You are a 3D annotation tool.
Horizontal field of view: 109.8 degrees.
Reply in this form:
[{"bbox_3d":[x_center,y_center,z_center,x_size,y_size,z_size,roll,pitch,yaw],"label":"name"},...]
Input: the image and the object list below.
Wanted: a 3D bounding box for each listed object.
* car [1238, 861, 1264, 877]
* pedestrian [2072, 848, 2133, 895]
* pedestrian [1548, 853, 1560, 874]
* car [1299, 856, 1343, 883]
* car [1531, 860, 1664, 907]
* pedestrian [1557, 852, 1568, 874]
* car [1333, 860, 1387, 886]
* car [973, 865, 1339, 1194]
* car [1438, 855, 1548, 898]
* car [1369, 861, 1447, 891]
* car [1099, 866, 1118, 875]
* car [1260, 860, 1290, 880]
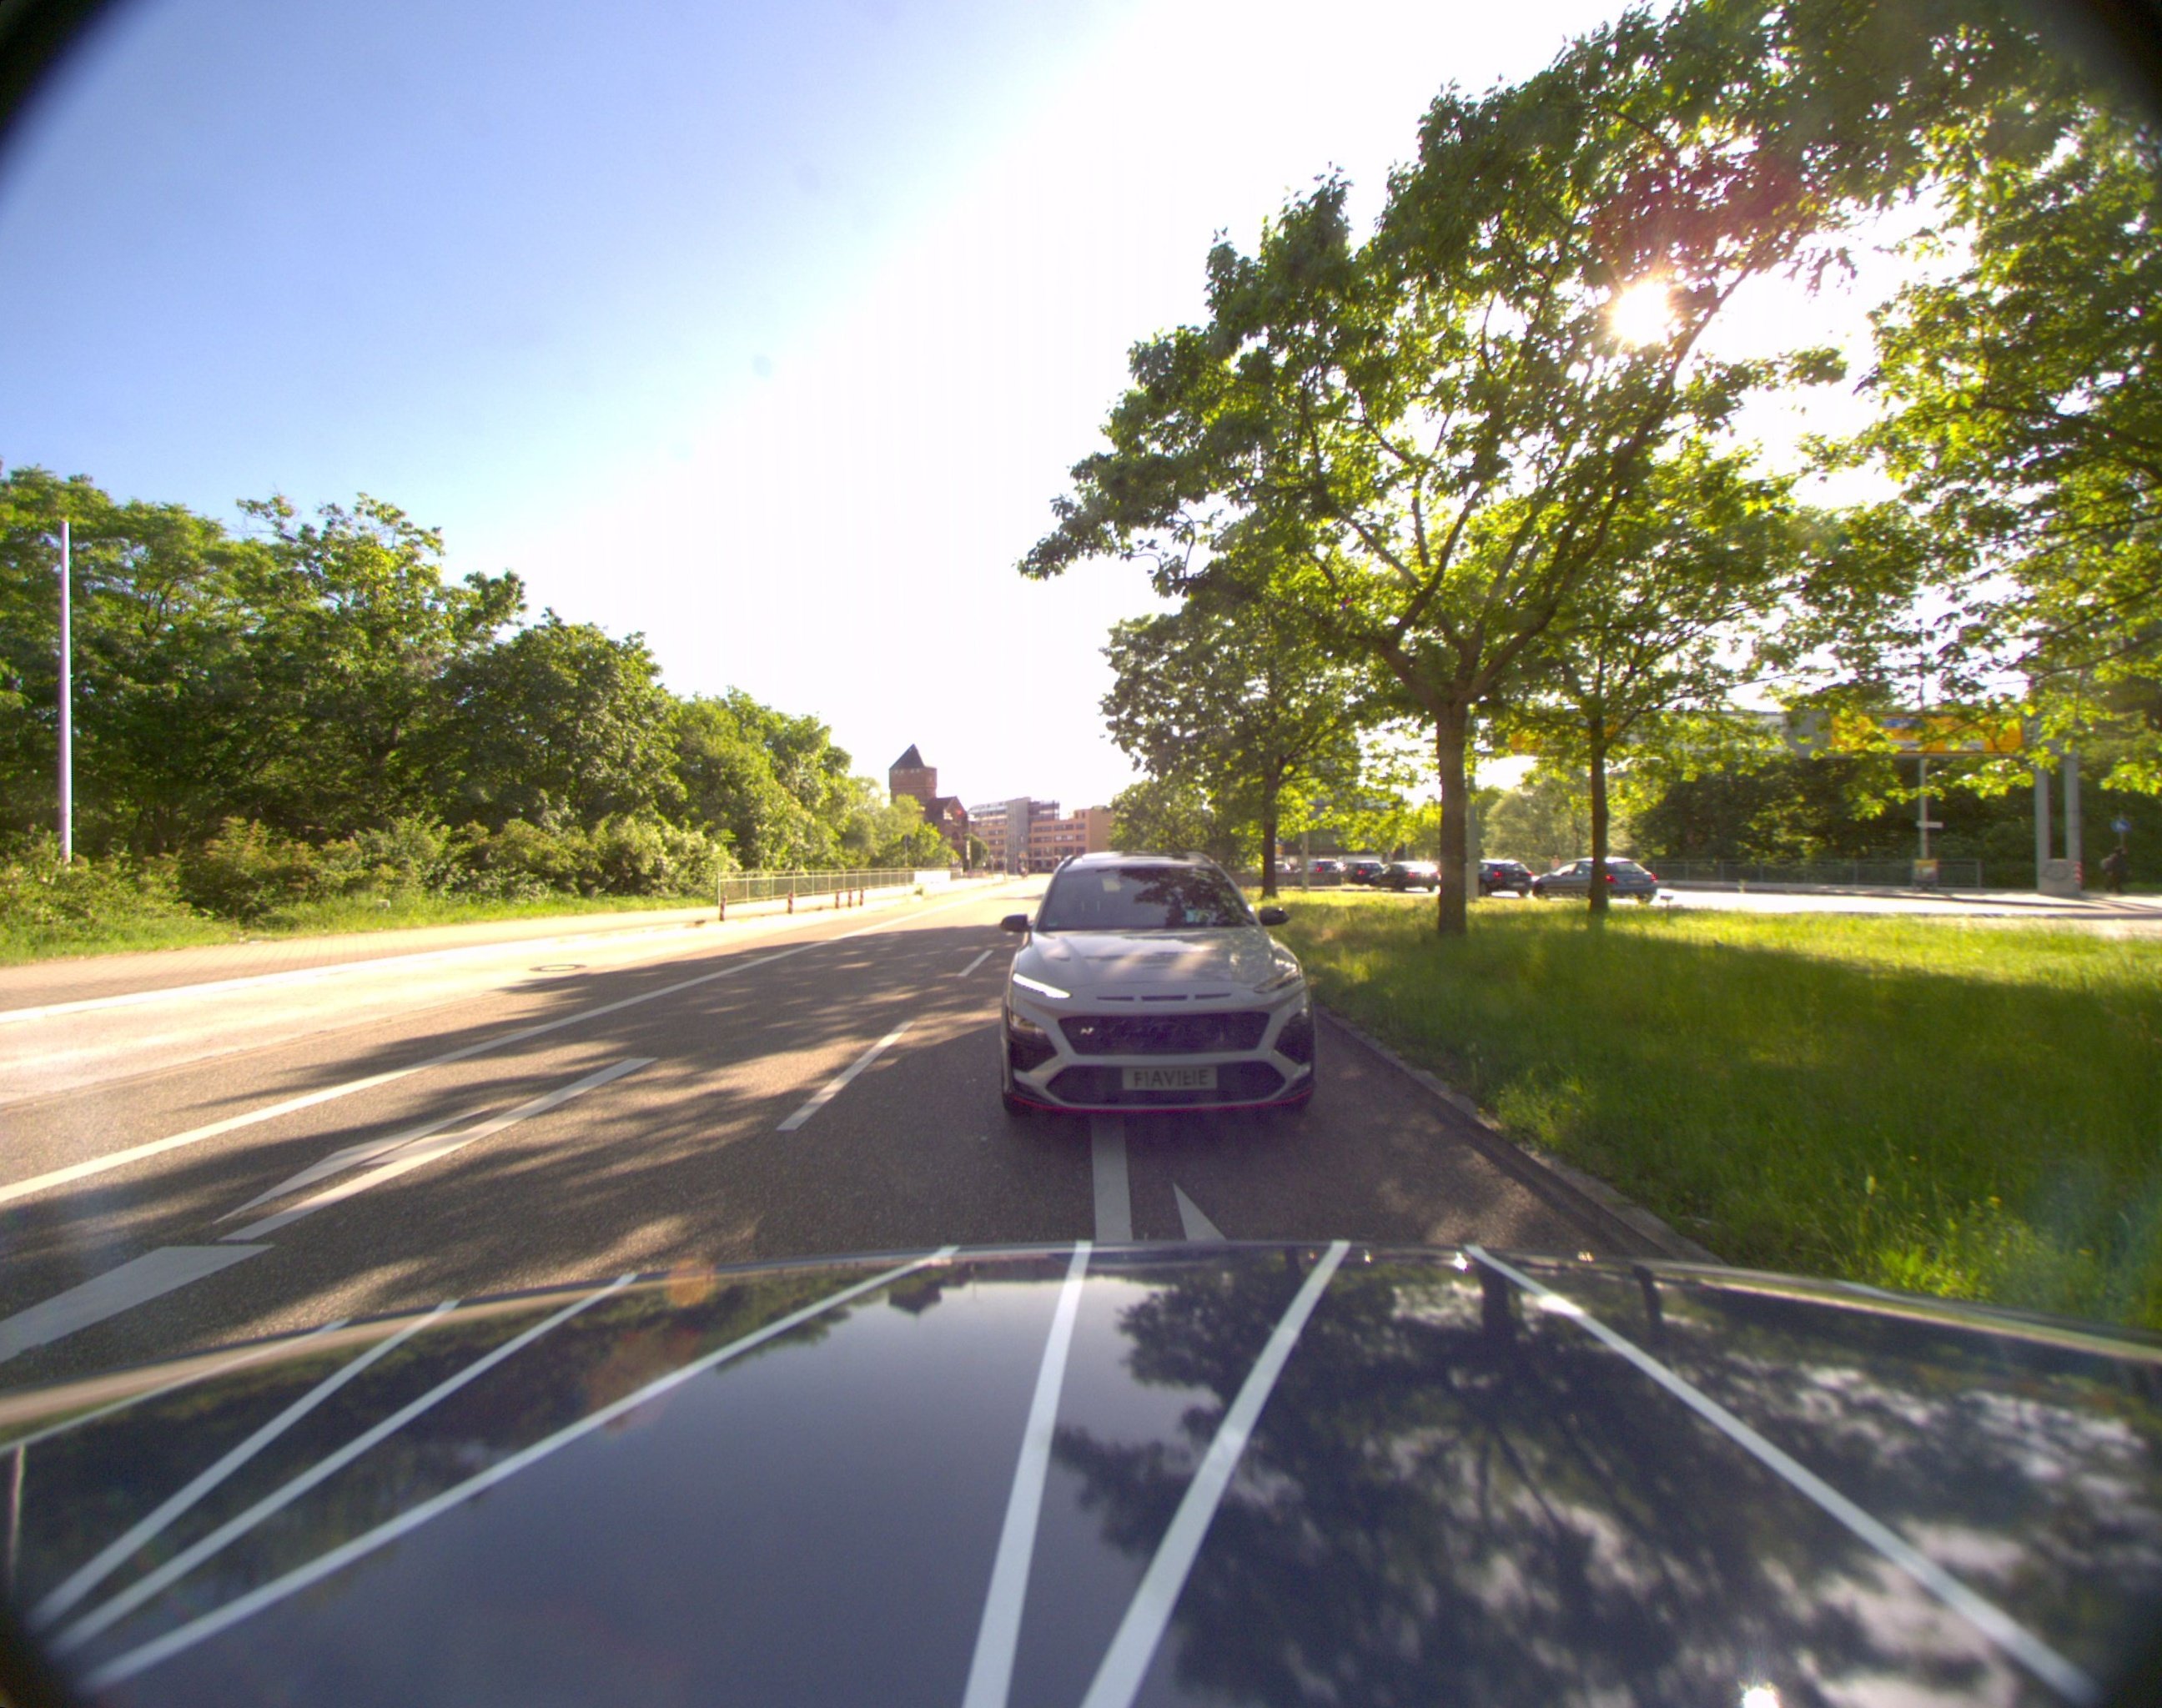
[{"bbox_3d":[13.940,1.282,62.397,1.199,1.252,2.768,-1,-2,-6],"label":"car"},{"bbox_3d":[36.324,0.621,27.030,0.914,1.620,0.988,-1,0,-7],"label":"pedestrian"},{"bbox_3d":[32.827,0.664,52.755,0.421,1.490,0.545,-1,0,-7],"label":"pedestrian"},{"bbox_3d":[14.974,0.995,47.537,1.450,1.549,3.202,-1,-2,-6],"label":"car"},{"bbox_3d":[16.384,0.885,24.320,1.561,1.355,3.608,-1,-1,-6],"label":"car"},{"bbox_3d":[33.297,0.645,52.532,0.421,1.490,0.545,-1,0,-7],"label":"pedestrian"},{"bbox_3d":[15.154,1.036,41.469,1.481,1.331,3.202,-1,-1,-6],"label":"car"},{"bbox_3d":[0.389,0.885,5.679,1.752,1.523,3.988,-1,0,1],"label":"car"},{"bbox_3d":[16.190,0.849,30.140,1.875,1.541,4.221,-1,0,-4],"label":"car"},{"bbox_3d":[15.478,1.000,36.213,1.623,1.305,4.066,-1,0,-6],"label":"car"},{"bbox_3d":[4.629,2.765,128.217,1.674,1.463,4.158,0,0,25],"label":"car"},{"bbox_3d":[14.324,1.211,56.130,1.228,1.331,2.882,-1,-3,-6],"label":"car"}]
